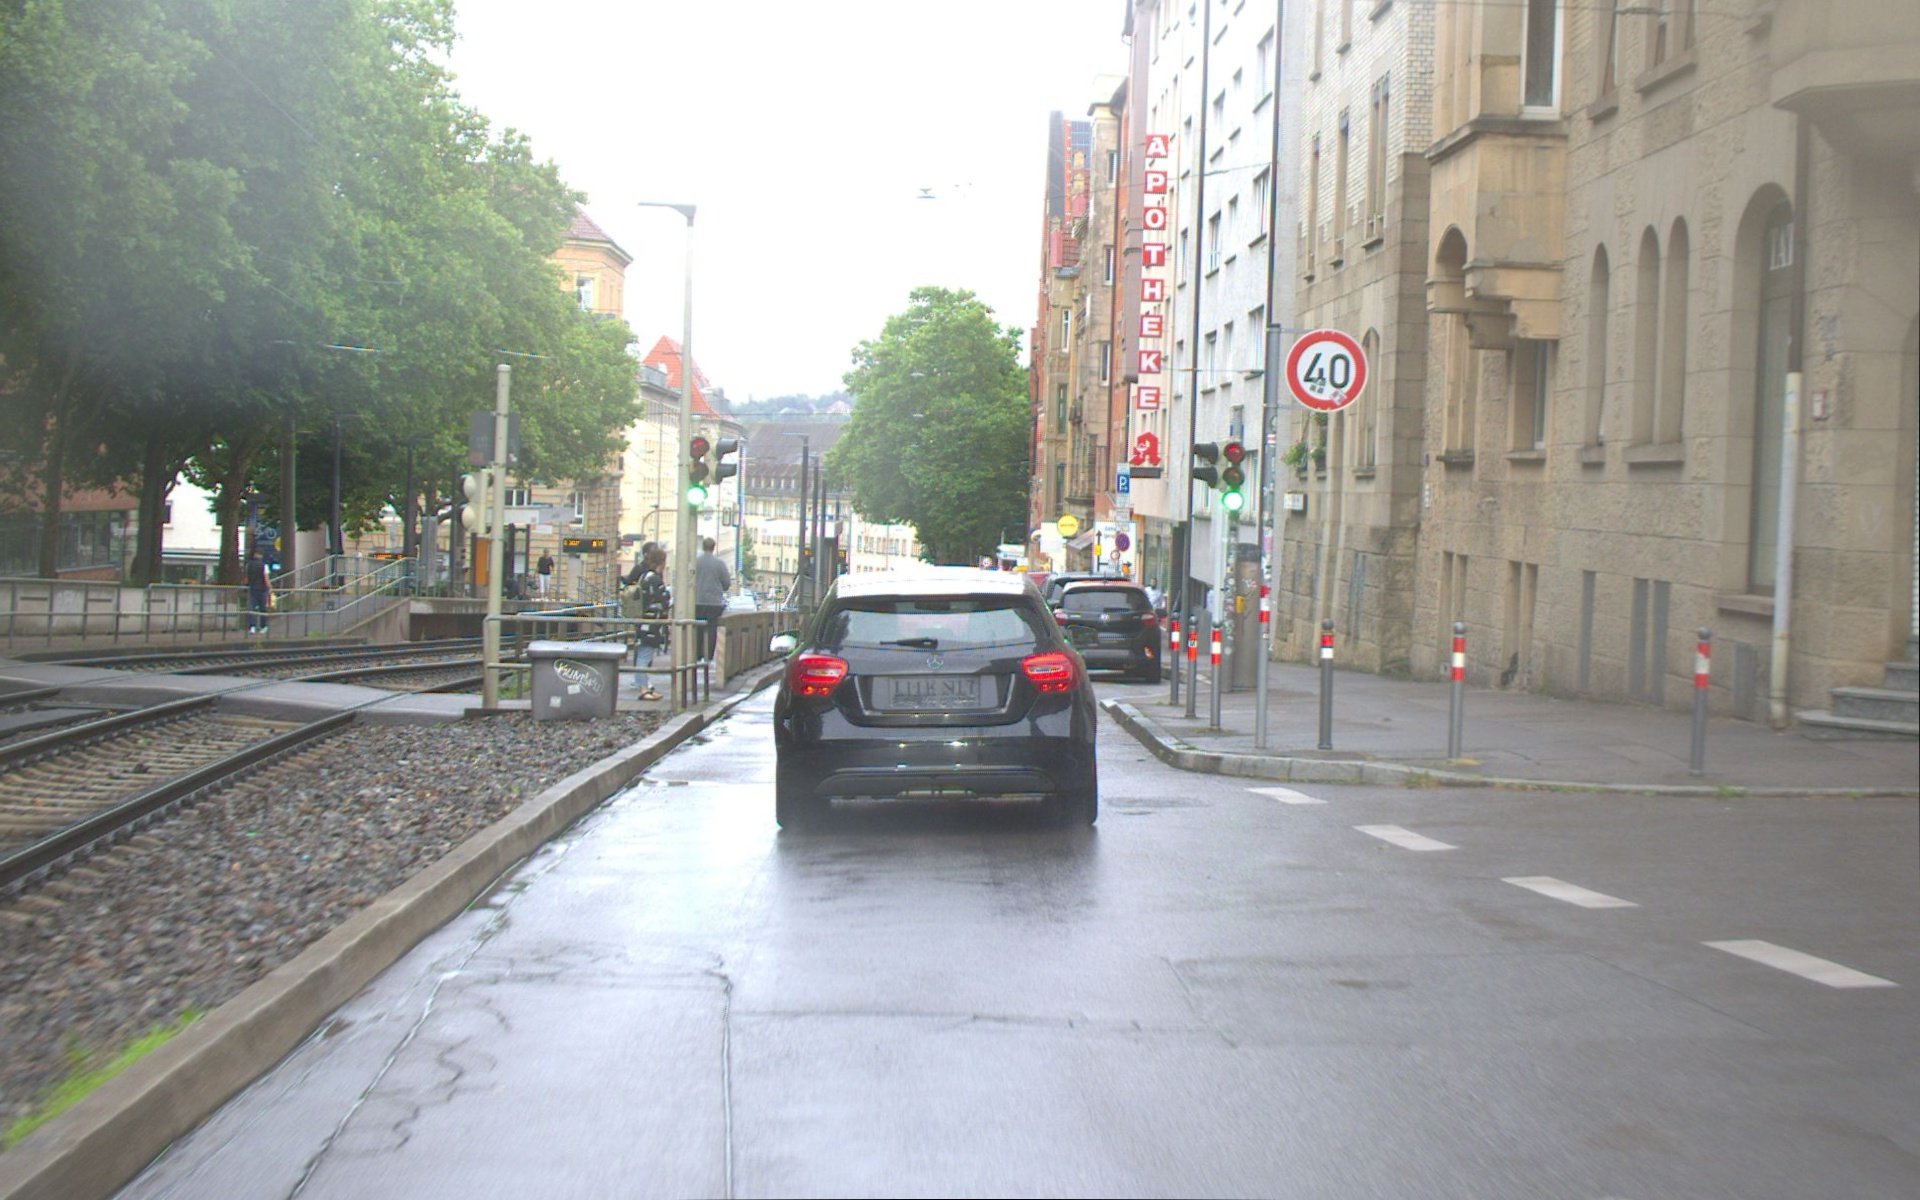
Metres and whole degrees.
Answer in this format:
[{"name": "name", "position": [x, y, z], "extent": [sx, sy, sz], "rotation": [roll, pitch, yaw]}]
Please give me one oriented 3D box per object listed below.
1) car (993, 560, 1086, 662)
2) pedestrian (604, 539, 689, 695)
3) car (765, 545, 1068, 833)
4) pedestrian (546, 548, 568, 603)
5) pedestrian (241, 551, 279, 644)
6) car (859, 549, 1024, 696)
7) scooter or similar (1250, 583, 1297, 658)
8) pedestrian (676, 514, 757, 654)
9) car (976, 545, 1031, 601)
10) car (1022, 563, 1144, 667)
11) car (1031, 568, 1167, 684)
[{"name": "car", "position": [1.613, 0.205, 71.209], "extent": [1.759, 2.007, 4.000], "rotation": [-1, 1, -1]}, {"name": "pedestrian", "position": [-3.314, 0.170, 36.399], "extent": [0.806, 1.628, 0.892], "rotation": [-1, 1, 0]}, {"name": "car", "position": [-0.269, 0.448, 19.963], "extent": [1.580, 1.499, 3.575], "rotation": [1, 1, -1]}, {"name": "pedestrian", "position": [-12.692, -0.774, 108.278], "extent": [0.518, 1.711, 0.551], "rotation": [3, 0, 0]}, {"name": "pedestrian", "position": [-13.447, -0.053, 66.028], "extent": [0.534, 1.748, 0.607], "rotation": [3, 0, 0]}, {"name": "car", "position": [-0.223, 0.224, 39.614], "extent": [1.785, 1.576, 4.000], "rotation": [1, 1, -1]}, {"name": "scooter or similar", "position": [5.688, 0.361, 62.351], "extent": [0.448, 1.316, 1.778], "rotation": [-1, 1, -8]}, {"name": "pedestrian", "position": [-3.544, -0.240, 50.018], "extent": [1.137, 1.991, 1.173], "rotation": [-1, 1, -4]}, {"name": "car", "position": [1.611, -1.020, 128.227], "extent": [1.993, 2.007, 4.000], "rotation": [-1, 1, 0]}, {"name": "car", "position": [1.960, 0.211, 55.603], "extent": [1.759, 1.573, 4.000], "rotation": [-1, 1, -1]}, {"name": "car", "position": [2.035, 0.354, 51.399], "extent": [1.827, 1.612, 3.864], "rotation": [-1, 1, -1]}]
